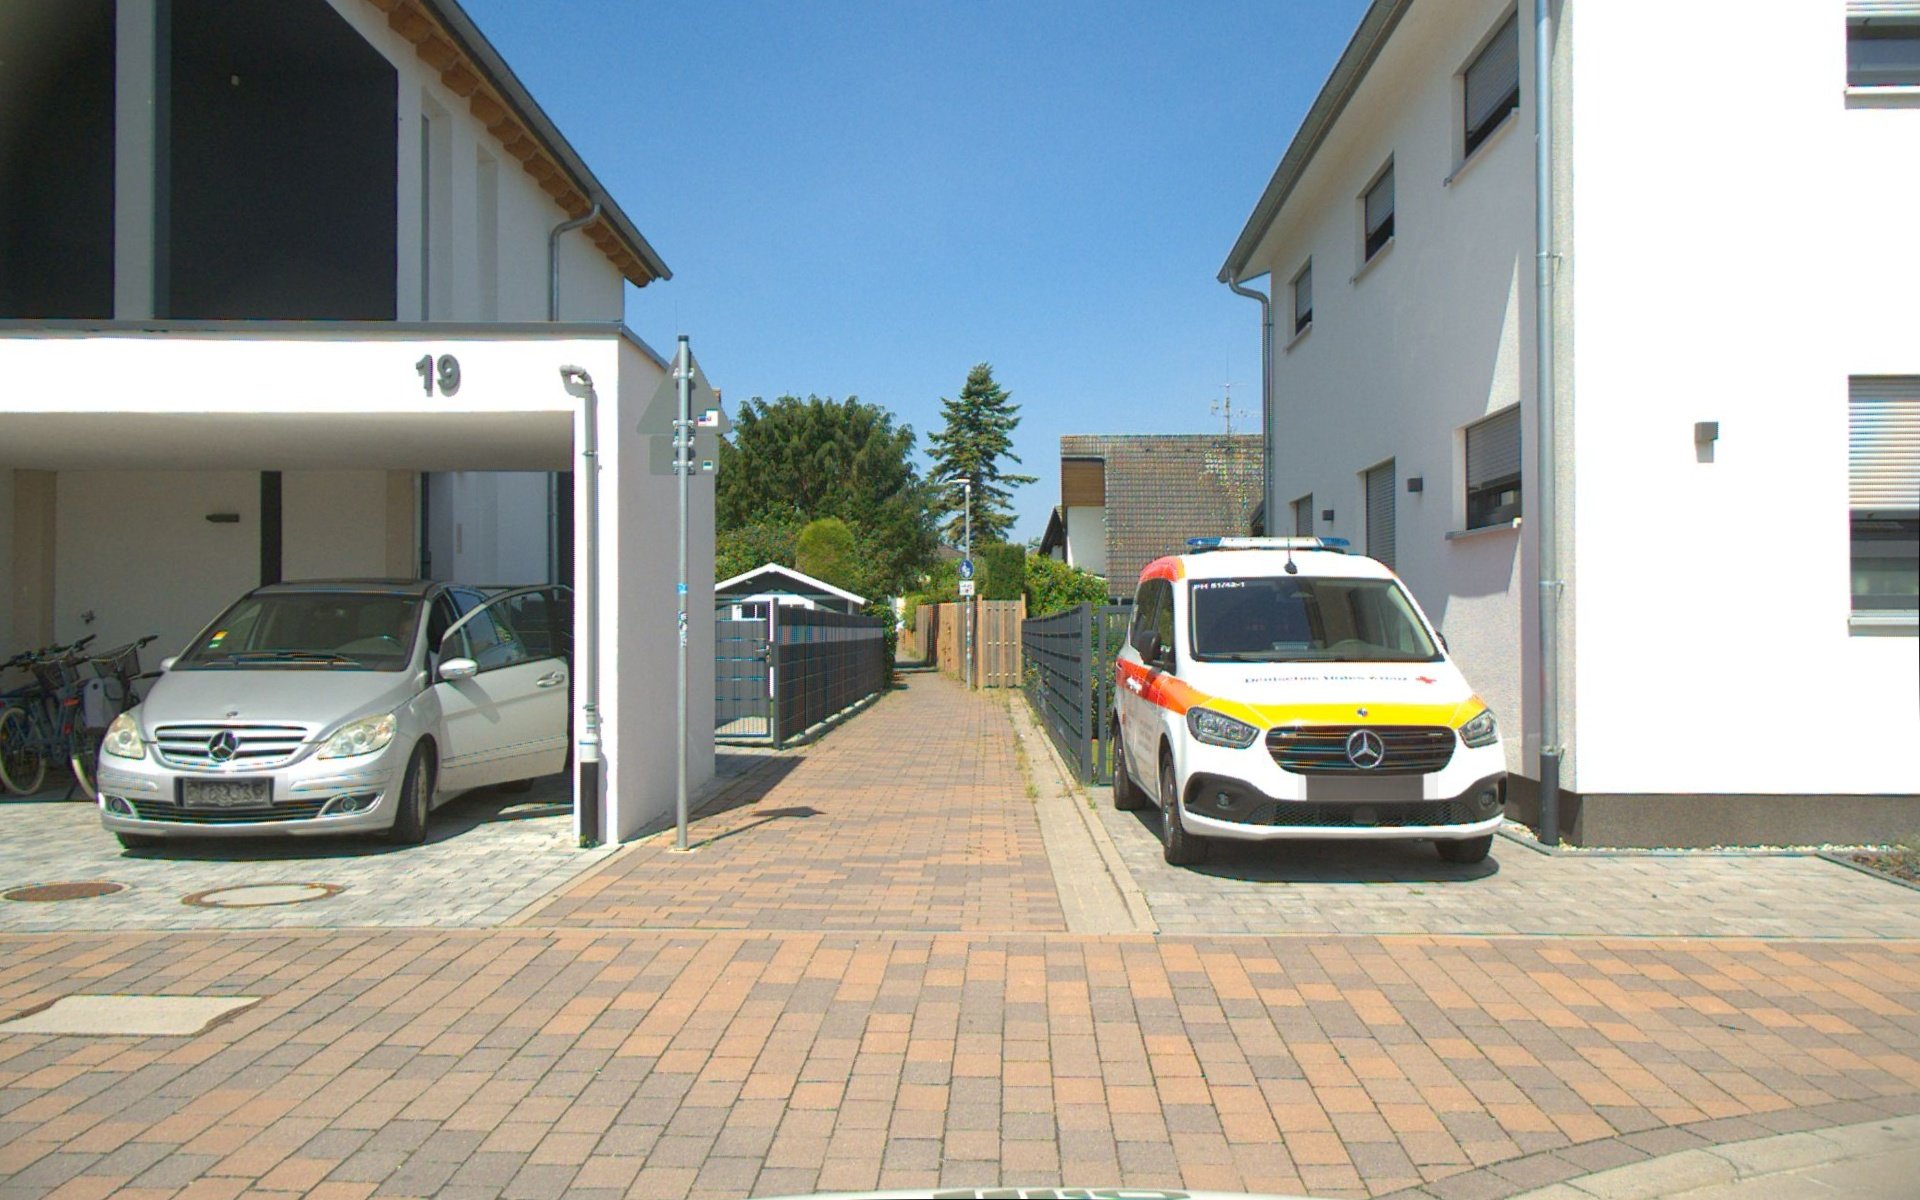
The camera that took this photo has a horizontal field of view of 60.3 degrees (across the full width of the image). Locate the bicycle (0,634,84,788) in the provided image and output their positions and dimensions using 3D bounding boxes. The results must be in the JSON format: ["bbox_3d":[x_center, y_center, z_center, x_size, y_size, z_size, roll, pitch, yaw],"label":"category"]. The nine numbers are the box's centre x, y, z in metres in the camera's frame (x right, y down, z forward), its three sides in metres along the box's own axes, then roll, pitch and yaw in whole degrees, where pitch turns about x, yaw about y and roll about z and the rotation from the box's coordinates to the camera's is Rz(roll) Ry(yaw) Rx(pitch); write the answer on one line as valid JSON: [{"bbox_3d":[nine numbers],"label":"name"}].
[{"bbox_3d":[-7.752,0.862,12.983,0.761,1.146,2.130,1,0,-5],"label":"bicycle"}]

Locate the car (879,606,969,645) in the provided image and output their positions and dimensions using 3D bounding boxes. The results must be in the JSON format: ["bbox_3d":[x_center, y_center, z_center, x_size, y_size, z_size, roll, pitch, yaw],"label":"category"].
[{"bbox_3d":[-1.646,1.139,75.699,4.062,1.747,1.905,0,-1,-1],"label":"car"}]

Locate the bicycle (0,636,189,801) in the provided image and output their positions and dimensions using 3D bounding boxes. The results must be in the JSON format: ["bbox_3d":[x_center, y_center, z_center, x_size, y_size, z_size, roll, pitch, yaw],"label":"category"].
[{"bbox_3d":[-6.882,0.874,12.941,0.714,1.146,2.132,1,0,-1],"label":"bicycle"}]

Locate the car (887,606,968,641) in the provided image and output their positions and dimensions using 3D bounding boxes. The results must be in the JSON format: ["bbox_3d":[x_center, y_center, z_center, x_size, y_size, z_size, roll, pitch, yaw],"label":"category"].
[{"bbox_3d":[-1.639,1.169,84.394,4.062,1.747,1.905,0,-1,-1],"label":"car"}]

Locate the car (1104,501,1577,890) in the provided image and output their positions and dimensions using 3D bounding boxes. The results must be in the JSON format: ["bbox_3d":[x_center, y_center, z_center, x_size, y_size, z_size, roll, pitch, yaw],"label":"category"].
[{"bbox_3d":[2.077,0.497,10.503,1.892,1.908,4.751,0,-1,0],"label":"car"}]

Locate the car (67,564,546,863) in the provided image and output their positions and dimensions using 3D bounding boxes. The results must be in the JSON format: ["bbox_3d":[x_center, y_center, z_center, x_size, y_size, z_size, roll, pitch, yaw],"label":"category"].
[{"bbox_3d":[-4.030,0.639,10.982,1.705,1.589,4.162,0,-1,-3],"label":"car"}]
